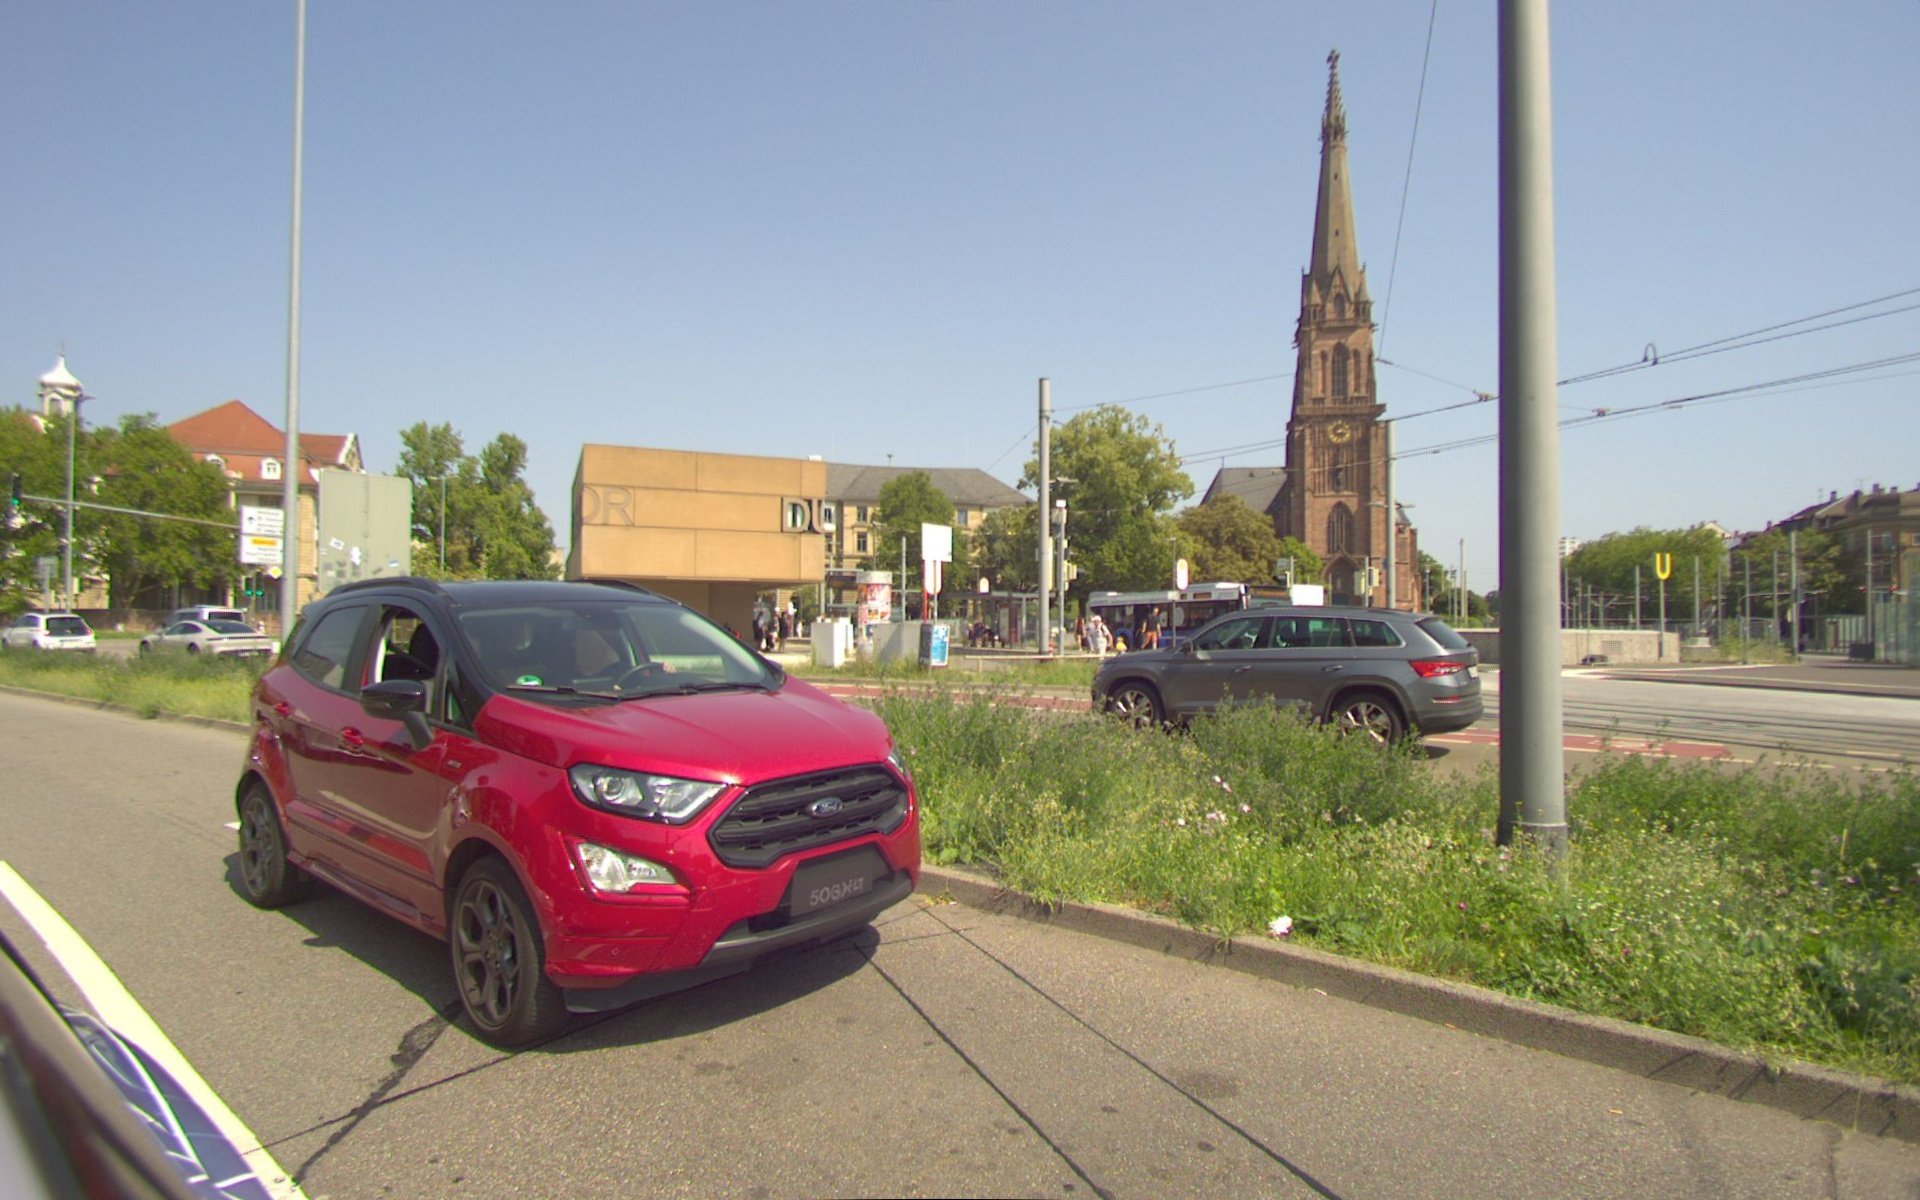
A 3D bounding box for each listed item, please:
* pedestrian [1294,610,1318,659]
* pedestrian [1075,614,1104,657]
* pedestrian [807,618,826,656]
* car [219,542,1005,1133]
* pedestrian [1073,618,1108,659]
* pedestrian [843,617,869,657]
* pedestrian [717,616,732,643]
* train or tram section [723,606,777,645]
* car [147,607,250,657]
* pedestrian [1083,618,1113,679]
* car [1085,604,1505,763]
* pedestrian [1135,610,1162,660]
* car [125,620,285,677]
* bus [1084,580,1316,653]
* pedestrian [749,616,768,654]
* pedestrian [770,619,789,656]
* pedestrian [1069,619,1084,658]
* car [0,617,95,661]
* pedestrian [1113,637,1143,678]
[{"bbox_3d":[13.268,1.309,38.802,0.593,1.825,0.639,-1,0,-44],"label":"pedestrian"},{"bbox_3d":[5.516,1.517,43.209,0.913,1.837,0.940,1,-2,-20],"label":"pedestrian"},{"bbox_3d":[-5.830,1.492,41.014,0.541,1.508,0.532,-1,-2,38],"label":"pedestrian"},{"bbox_3d":[-1.829,0.670,4.633,3.842,1.598,1.673,-1,-1,40],"label":"car"},{"bbox_3d":[5.552,1.622,43.143,1.060,1.709,1.068,1,-2,-22],"label":"pedestrian"},{"bbox_3d":[-3.946,1.393,38.361,0.605,1.508,0.761,-1,-2,38],"label":"pedestrian"},{"bbox_3d":[-9.662,1.216,41.578,0.530,1.108,0.543,1,-2,-19],"label":"pedestrian"},{"bbox_3d":[-20.432,2.516,97.604,2.658,3.465,13.464,1,-2,-22],"label":"train or tram section"},{"bbox_3d":[-30.157,1.240,40.067,3.900,1.868,1.850,0,-2,30],"label":"car"},{"bbox_3d":[3.960,1.381,29.153,0.681,1.724,0.538,1,-2,-20],"label":"pedestrian"},{"bbox_3d":[3.933,0.897,12.258,4.533,1.612,1.750,-1,-2,35],"label":"car"},{"bbox_3d":[7.015,1.309,37.681,0.792,1.837,0.535,1,-2,-22],"label":"pedestrian"},{"bbox_3d":[-22.668,1.421,30.383,4.691,1.597,1.982,-1,-2,27],"label":"car"},{"bbox_3d":[9.879,0.789,44.169,3.346,2.733,12.383,1,-2,-22],"label":"bus"},{"bbox_3d":[-8.016,1.394,40.244,0.541,1.508,0.532,-1,-2,38],"label":"pedestrian"},{"bbox_3d":[-7.307,1.517,41.024,0.541,1.508,0.532,-1,-2,38],"label":"pedestrian"},{"bbox_3d":[5.599,1.835,48.594,0.632,1.825,0.599,-1,0,14],"label":"pedestrian"},{"bbox_3d":[-32.381,1.373,35.711,3.457,1.490,1.513,-1,-2,25],"label":"car"},{"bbox_3d":[4.794,1.637,28.853,0.591,1.134,0.640,-1,0,-19],"label":"pedestrian"}]
